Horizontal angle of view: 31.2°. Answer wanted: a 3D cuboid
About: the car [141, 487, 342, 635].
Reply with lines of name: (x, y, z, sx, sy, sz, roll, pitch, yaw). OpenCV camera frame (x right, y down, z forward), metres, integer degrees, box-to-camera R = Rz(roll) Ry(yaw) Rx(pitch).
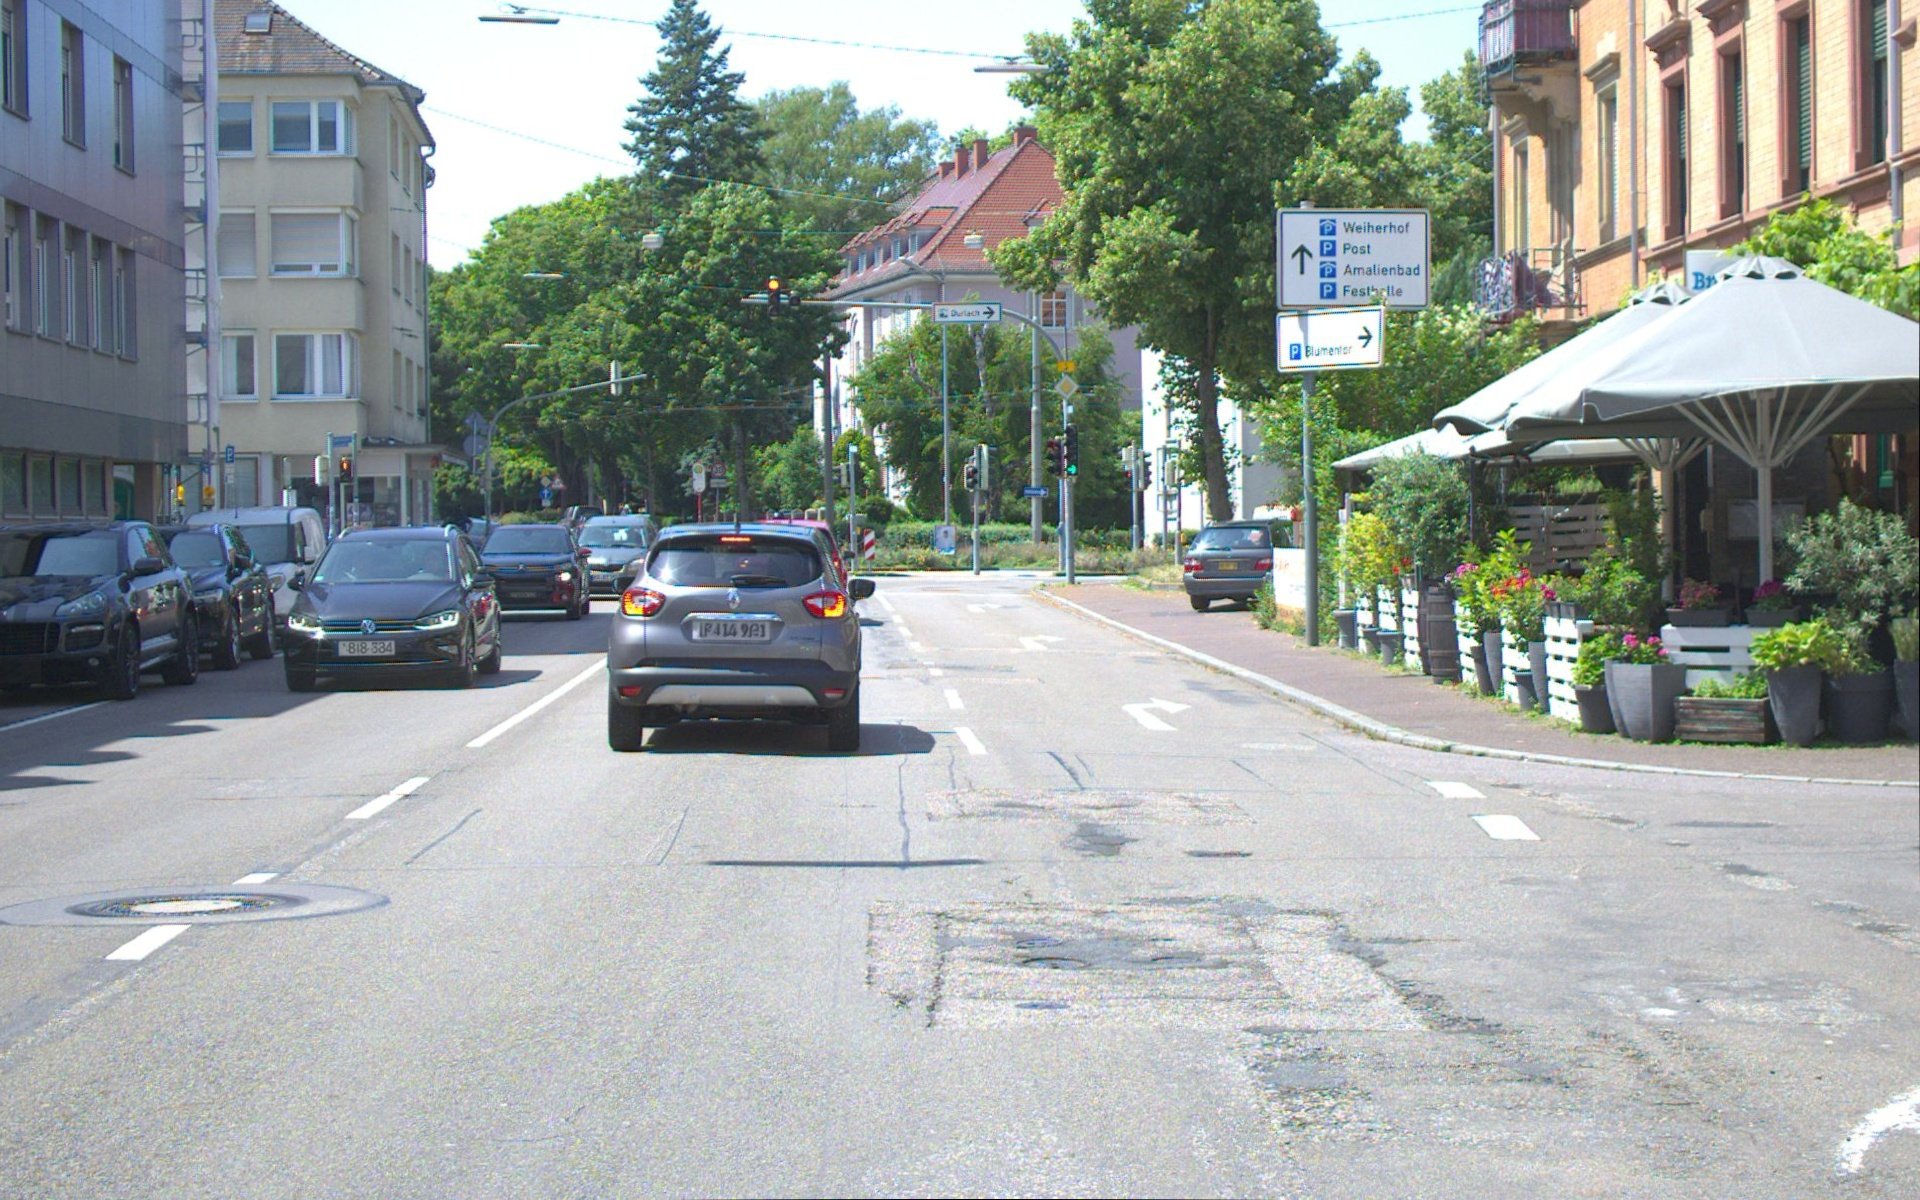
car: (-9.508, -0.550, 45.831, 1.913, 1.819, 4.789, -2, 1, -4)

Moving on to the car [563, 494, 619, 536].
car: (-17.394, -4.018, 161.892, 1.993, 1.900, 4.002, 0, 2, -15)

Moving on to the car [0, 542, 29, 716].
car: (-8.625, 0.325, 26.521, 1.864, 1.401, 4.839, -4, 1, -5)

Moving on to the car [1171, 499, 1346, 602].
car: (5.122, -0.868, 58.308, 1.836, 1.543, 5.152, 0, 3, 18)

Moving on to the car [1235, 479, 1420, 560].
car: (9.323, -2.049, 87.120, 4.489, 1.970, 2.000, -2, 2, -37)

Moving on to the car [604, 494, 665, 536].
car: (-14.096, -3.689, 148.819, 1.993, 1.801, 4.002, 0, 2, -15)

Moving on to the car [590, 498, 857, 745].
car: (-1.645, 0.087, 25.021, 1.753, 1.626, 4.001, 1, 2, -2)

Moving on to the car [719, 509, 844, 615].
car: (-2.711, -0.610, 52.816, 1.799, 1.552, 4.038, 1, 1, -2)

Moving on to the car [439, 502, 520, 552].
car: (-15.160, -2.278, 108.385, 1.993, 1.514, 4.001, 1, 1, -16)

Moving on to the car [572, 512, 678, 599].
car: (-6.339, -0.876, 65.443, 1.701, 1.569, 4.313, -1, 2, -2)

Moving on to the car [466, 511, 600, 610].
car: (-6.700, -0.659, 54.322, 1.701, 1.473, 4.134, -1, 2, -2)

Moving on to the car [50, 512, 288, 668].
car: (-9.006, -0.165, 39.503, 1.884, 1.635, 4.664, -2, 1, -4)

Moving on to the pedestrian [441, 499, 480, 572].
pedestrian: (-13.338, -1.729, 91.795, 0.935, 1.925, 0.977, 0, 1, -14)

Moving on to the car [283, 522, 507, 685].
car: (-5.596, -0.015, 34.486, 1.760, 1.489, 4.246, -1, 2, -3)

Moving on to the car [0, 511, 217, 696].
car: (-8.627, -0.013, 33.358, 1.884, 1.635, 4.818, -2, 1, -2)
